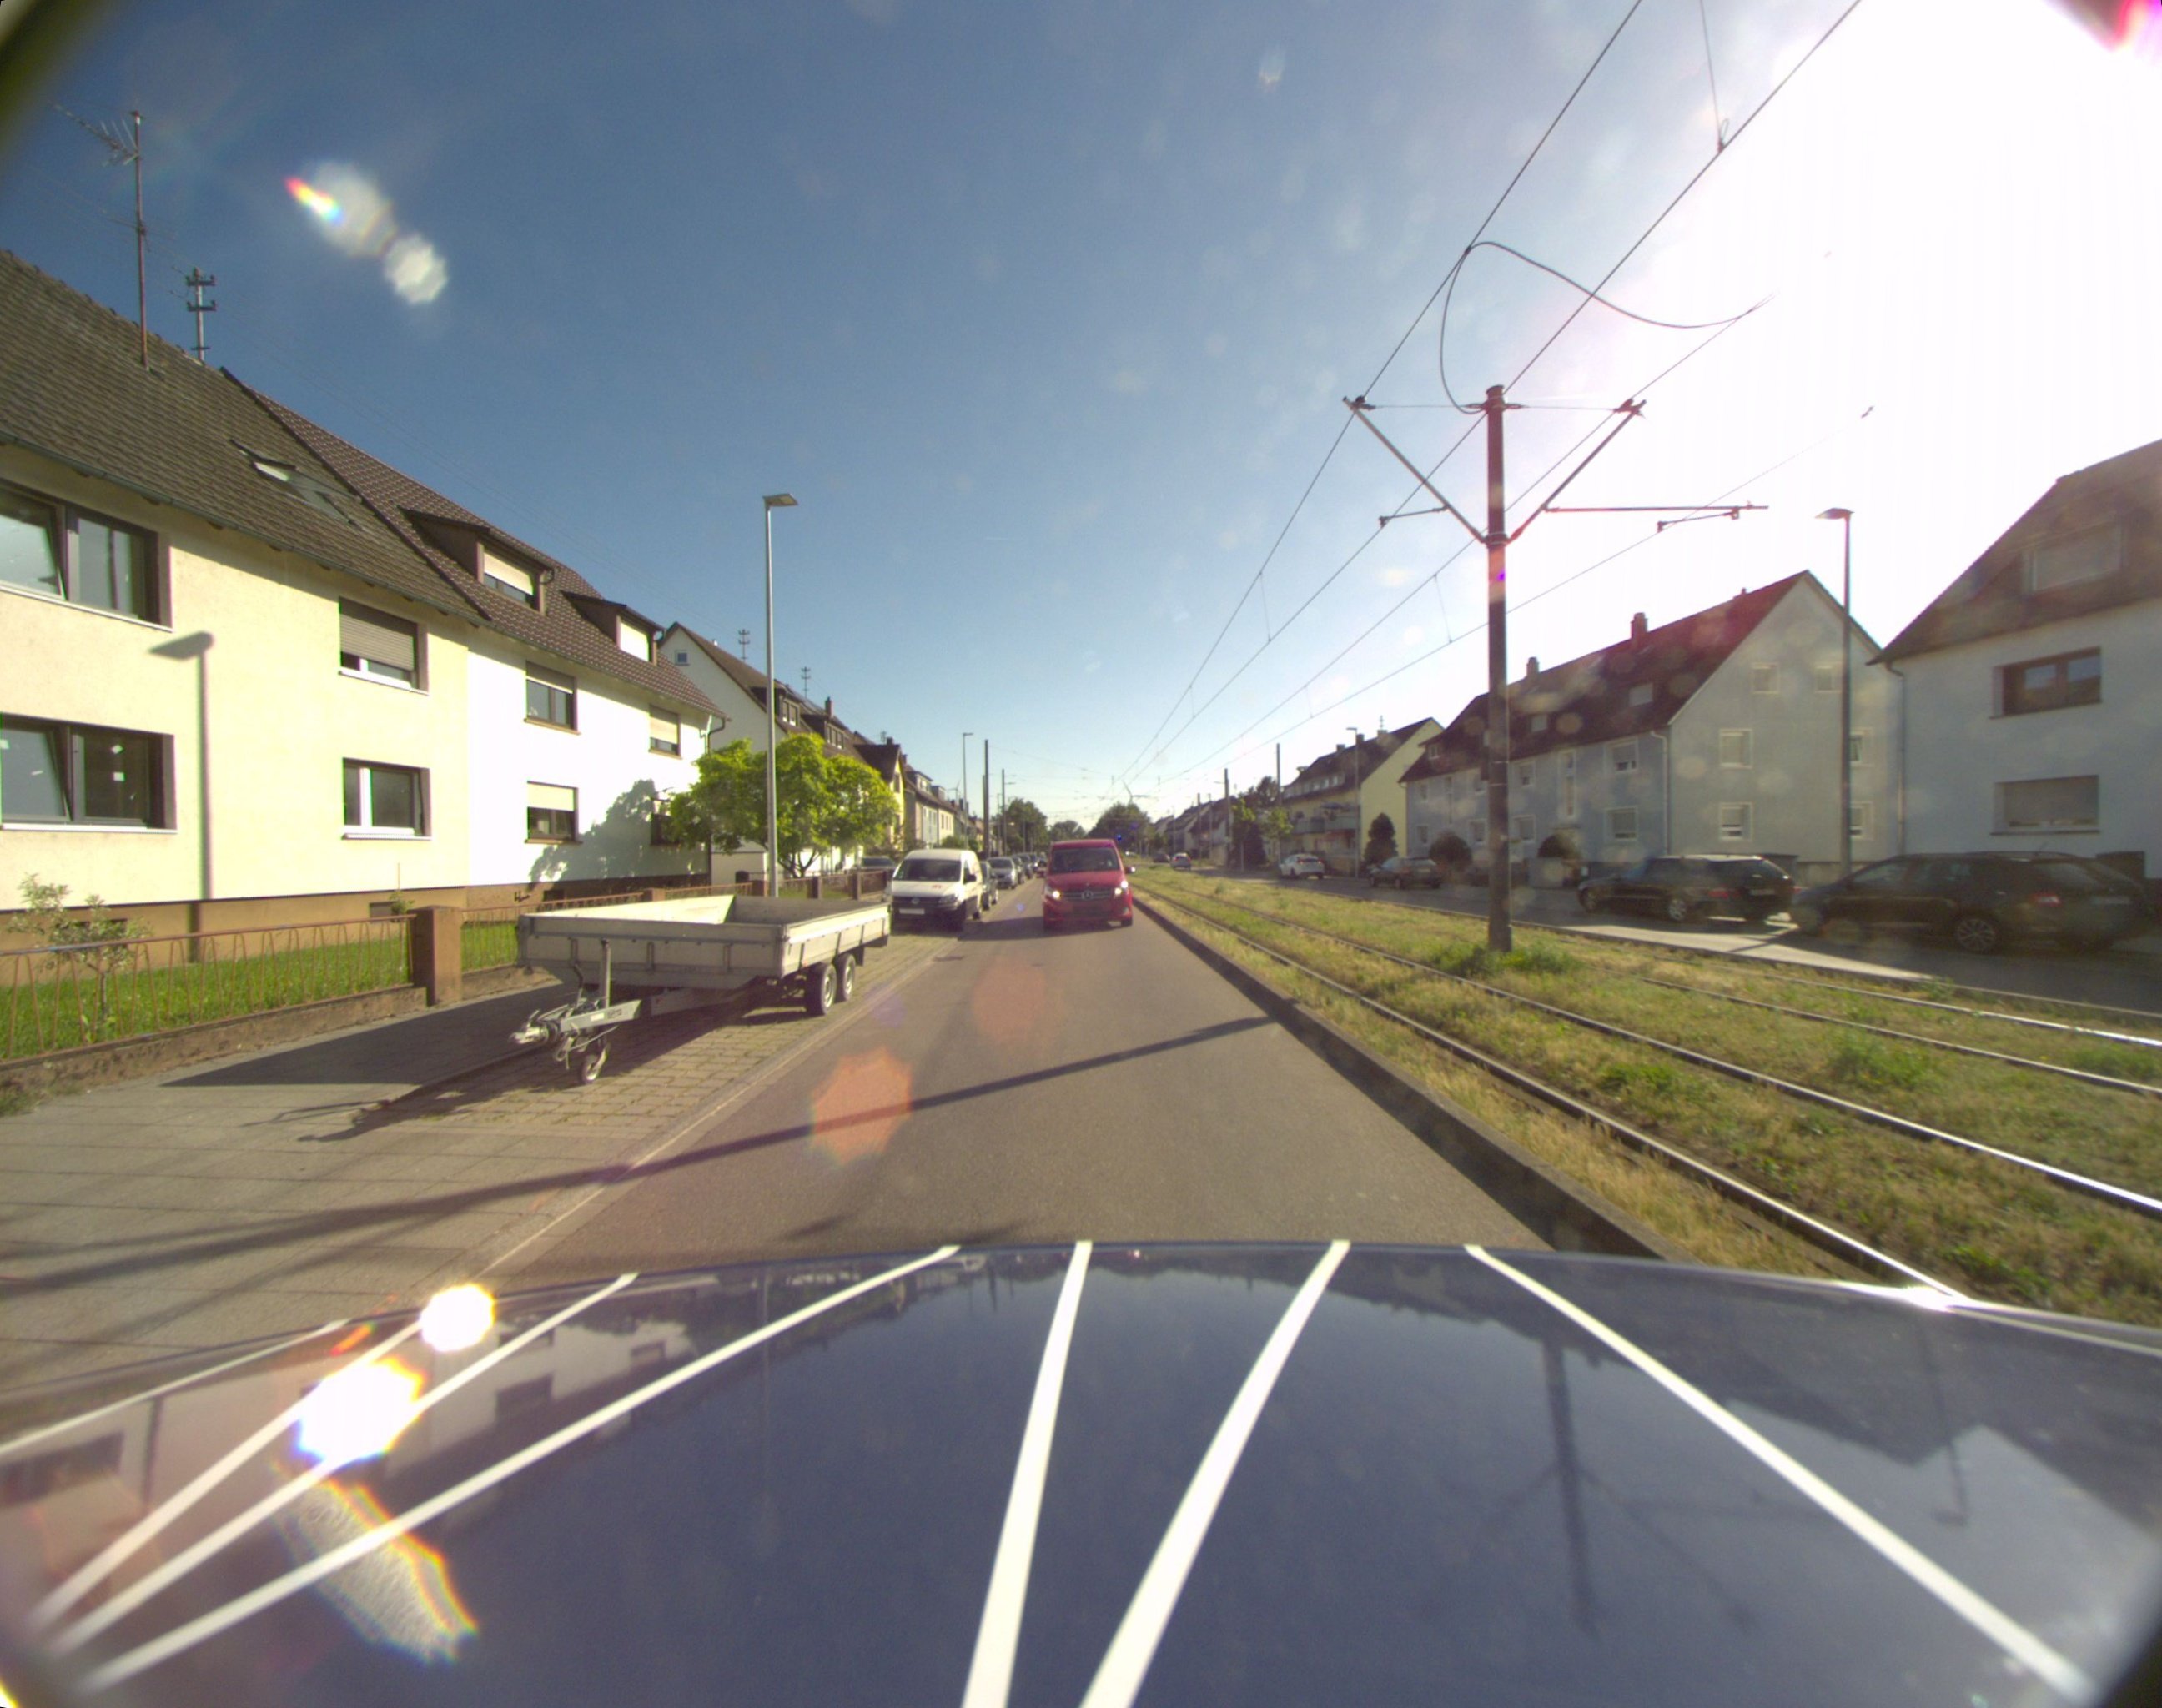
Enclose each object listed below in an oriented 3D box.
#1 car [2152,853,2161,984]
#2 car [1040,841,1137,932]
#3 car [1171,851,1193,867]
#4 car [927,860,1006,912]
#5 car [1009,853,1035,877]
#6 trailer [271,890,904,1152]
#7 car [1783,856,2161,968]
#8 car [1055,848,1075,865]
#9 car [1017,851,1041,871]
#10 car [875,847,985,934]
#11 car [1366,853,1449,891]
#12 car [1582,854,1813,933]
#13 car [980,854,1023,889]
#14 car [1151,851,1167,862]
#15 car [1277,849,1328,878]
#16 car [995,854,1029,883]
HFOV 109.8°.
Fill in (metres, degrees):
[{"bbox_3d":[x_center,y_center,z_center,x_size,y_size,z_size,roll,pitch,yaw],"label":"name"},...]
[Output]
[{"bbox_3d":[13.810,0.760,6.685,1.925,1.551,4.858,-2,1,0],"label":"car"},{"bbox_3d":[0.175,0.665,18.883,1.998,1.889,5.389,-2,1,0],"label":"car"},{"bbox_3d":[10.230,0.494,77.223,1.704,1.455,4.092,-2,1,0],"label":"car"},{"bbox_3d":[-3.545,0.944,24.247,1.828,1.461,4.441,0,0,0],"label":"car"},{"bbox_3d":[-4.070,0.743,52.822,1.524,1.571,4.583,1,0,-2],"label":"car"},{"bbox_3d":[-3.534,1.110,7.530,2.278,1.124,6.434,2,0,-3],"label":"trailer"},{"bbox_3d":[13.682,0.767,12.000,1.469,1.459,3.998,0,0,0],"label":"car"},{"bbox_3d":[-1.633,0.231,76.534,1.862,1.592,4.327,2,1,-2],"label":"car"},{"bbox_3d":[-4.478,0.600,65.735,1.862,1.592,4.583,2,1,-2],"label":"car"},{"bbox_3d":[-3.398,0.748,17.989,1.796,1.752,4.583,2,0,-2],"label":"car"},{"bbox_3d":[13.593,0.718,31.900,1.704,1.389,4.092,-2,1,0],"label":"car"},{"bbox_3d":[13.645,0.777,17.225,1.658,1.447,4.400,-2,1,0],"label":"car"},{"bbox_3d":[-3.695,0.769,36.040,1.682,1.472,4.388,2,1,-2],"label":"car"},{"bbox_3d":[12.239,0.398,119.214,2.016,1.561,4.092,-2,1,0],"label":"car"},{"bbox_3d":[13.225,0.538,45.607,1.831,1.522,4.092,-2,1,0],"label":"car"},{"bbox_3d":[-3.791,0.773,42.291,1.632,1.460,4.480,2,0,-2],"label":"car"}]
